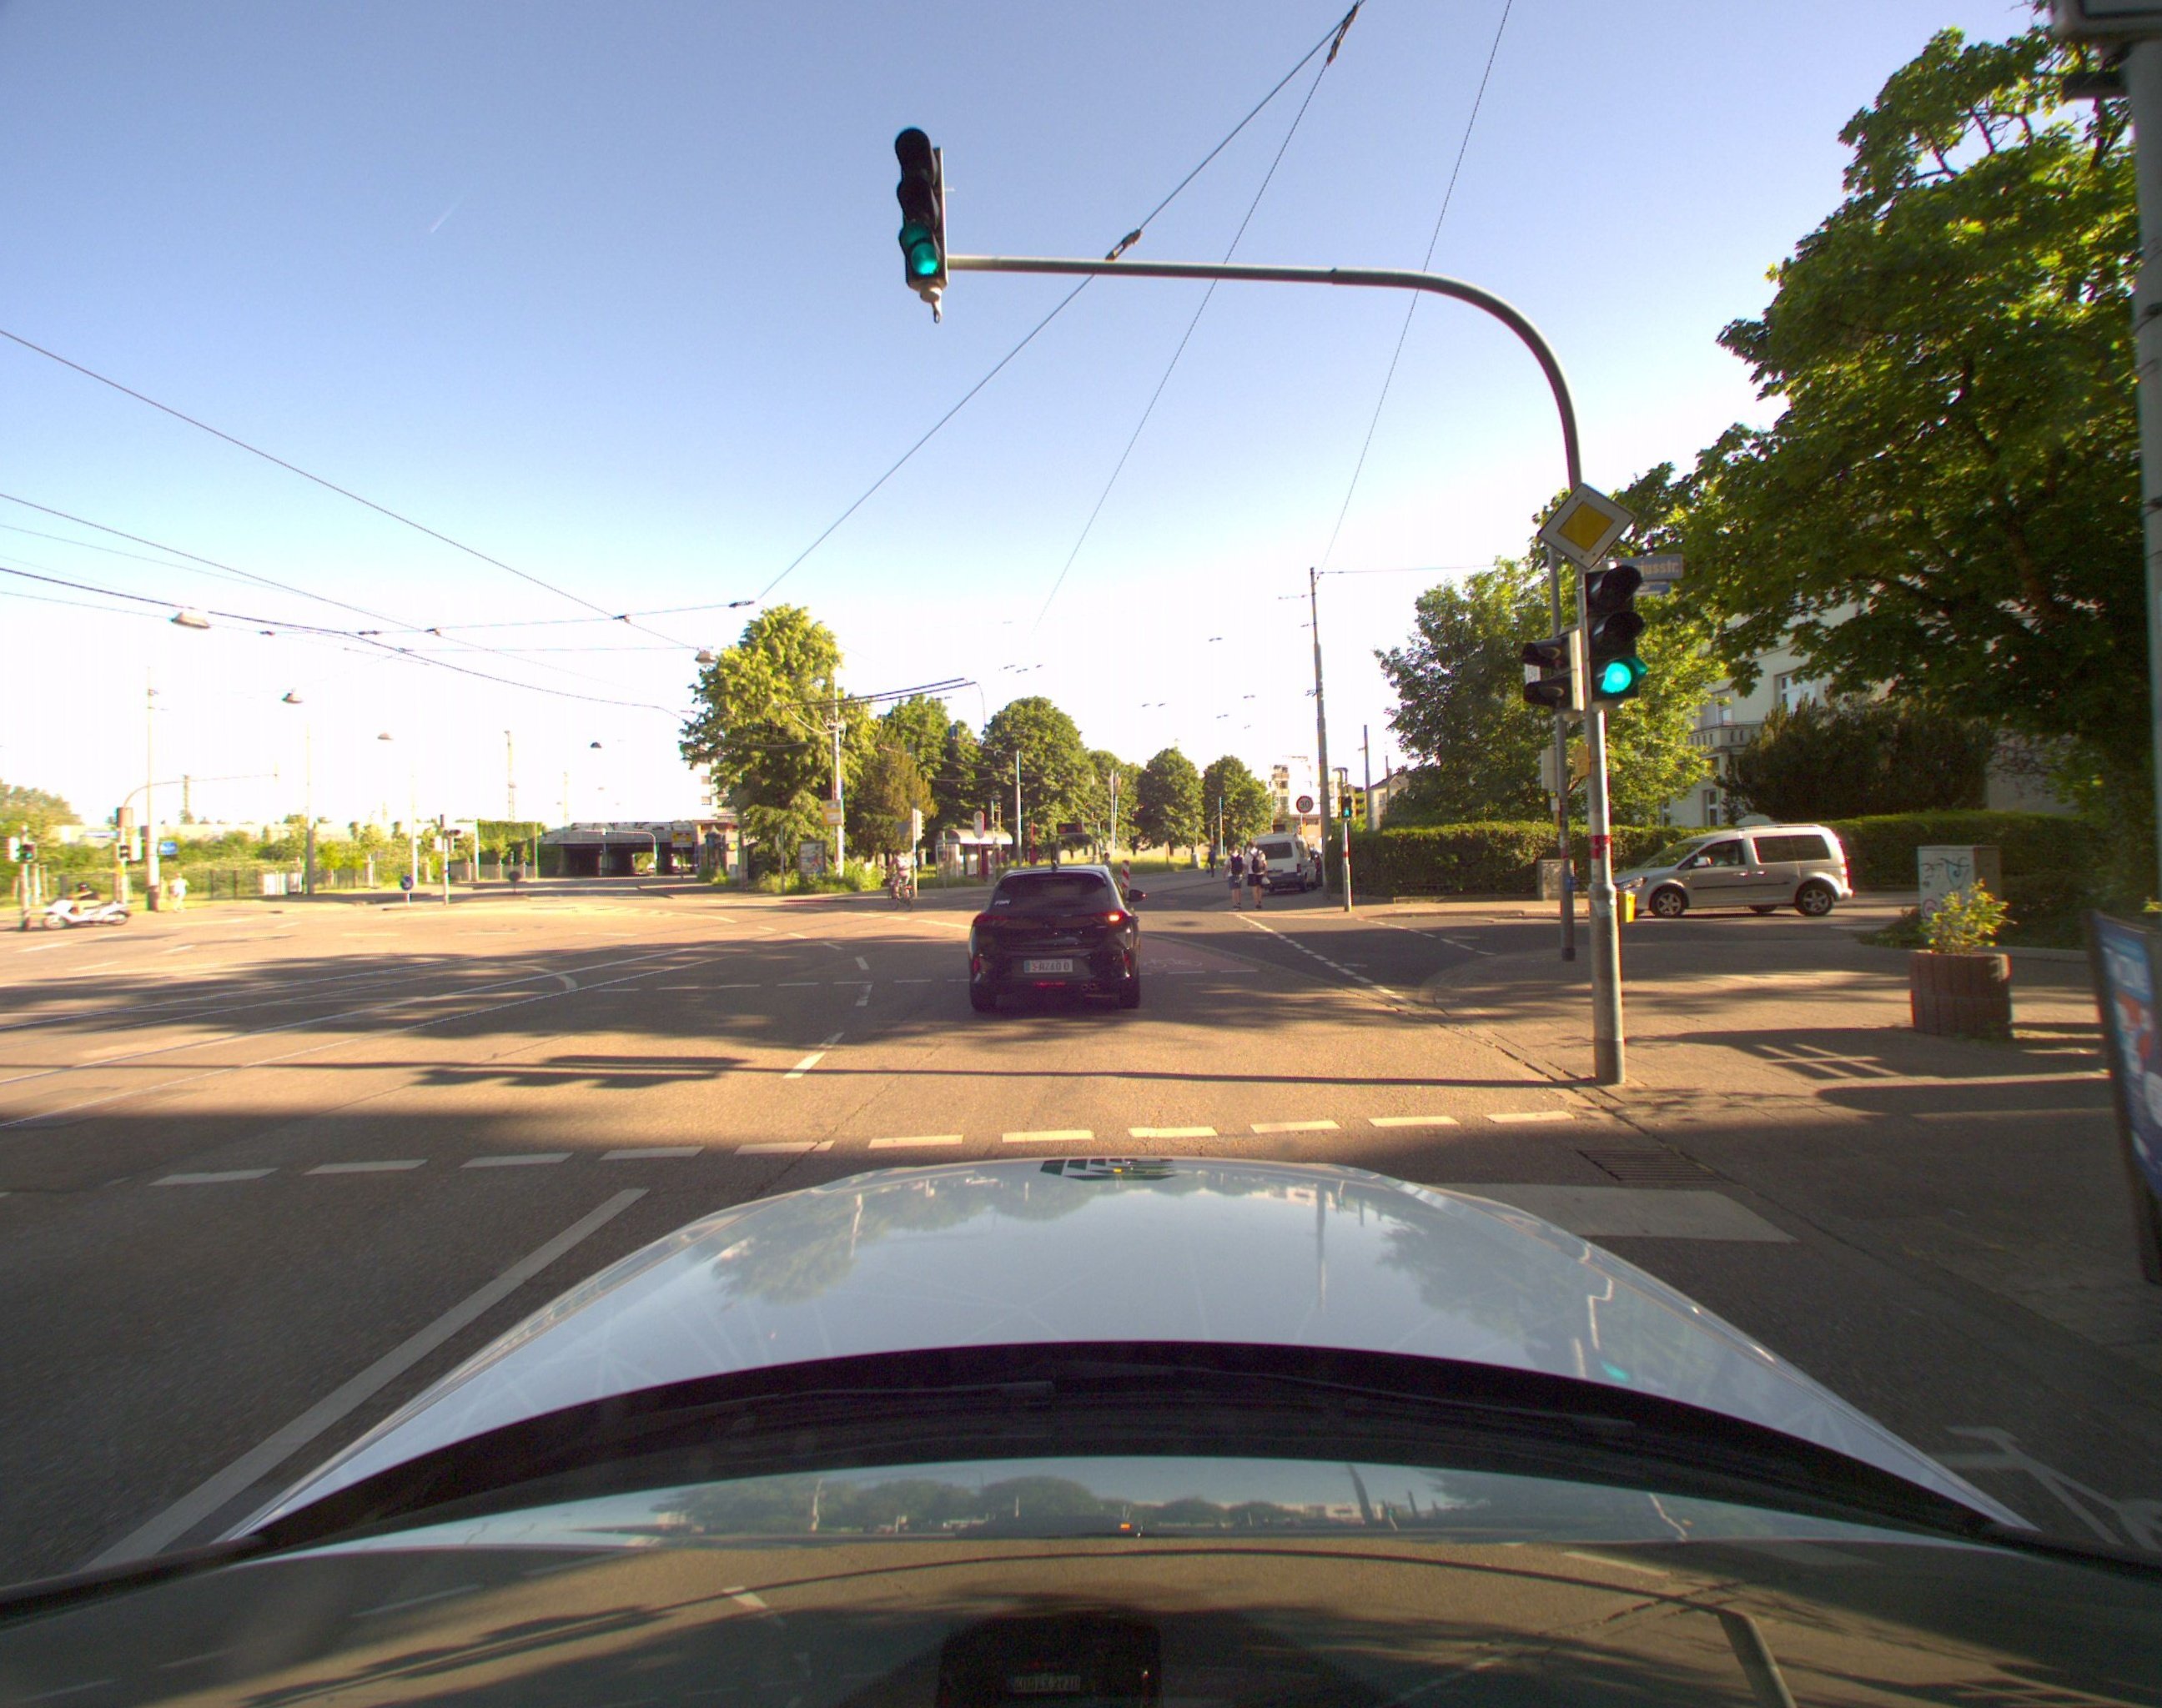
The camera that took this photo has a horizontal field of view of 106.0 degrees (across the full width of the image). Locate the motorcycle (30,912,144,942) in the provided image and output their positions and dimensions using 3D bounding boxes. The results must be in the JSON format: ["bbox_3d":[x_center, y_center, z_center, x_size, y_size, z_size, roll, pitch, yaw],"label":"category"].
[{"bbox_3d":[-33.863,2.467,27.799,0.723,0.870,2.356,-1,-1,22],"label":"motorcycle"}]

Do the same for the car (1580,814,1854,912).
[{"bbox_3d":[13.248,0.237,17.215,4.153,1.814,1.809,-2,-3,7],"label":"car"}]

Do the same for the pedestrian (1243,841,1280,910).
[{"bbox_3d":[4.942,0.572,22.270,0.696,1.846,0.705,-2,-1,38],"label":"pedestrian"}]

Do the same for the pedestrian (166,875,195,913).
[{"bbox_3d":[-38.680,1.703,35.003,0.602,1.596,0.679,0,-2,-27],"label":"pedestrian"}]

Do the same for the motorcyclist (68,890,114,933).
[{"bbox_3d":[-33.889,1.948,27.876,0.706,1.434,0.799,-1,-1,22],"label":"motorcyclist"}]

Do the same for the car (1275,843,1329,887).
[{"bbox_3d":[9.786,0.454,35.833,1.785,1.763,3.912,-2,0,22],"label":"car"}]

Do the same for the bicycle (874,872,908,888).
[{"bbox_3d":[-11.431,1.544,49.008,1.867,0.906,0.661,-2,0,5],"label":"bicycle"}]

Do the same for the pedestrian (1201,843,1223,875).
[{"bbox_3d":[7.427,0.272,46.276,0.949,1.793,1.001,-2,-1,24],"label":"pedestrian"}]

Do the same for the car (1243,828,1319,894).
[{"bbox_3d":[7.609,0.285,30.730,2.071,2.278,4.329,-1,-1,23],"label":"car"}]

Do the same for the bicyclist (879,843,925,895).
[{"bbox_3d":[-5.420,0.450,24.571,0.847,1.510,1.353,-1,0,-37],"label":"bicyclist"}]

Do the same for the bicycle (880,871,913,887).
[{"bbox_3d":[-11.299,1.528,49.883,1.867,0.906,0.661,-2,0,5],"label":"bicycle"}]

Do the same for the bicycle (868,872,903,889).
[{"bbox_3d":[-11.507,1.564,48.021,1.867,0.906,0.661,-2,0,5],"label":"bicycle"}]

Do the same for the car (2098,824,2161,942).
[{"bbox_3d":[15.338,0.361,9.593,1.698,1.581,4.036,-2,0,1],"label":"car"}]

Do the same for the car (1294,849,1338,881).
[{"bbox_3d":[11.861,0.510,40.923,1.785,1.476,3.960,-2,0,21],"label":"car"}]

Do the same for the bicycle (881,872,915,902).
[{"bbox_3d":[-6.936,1.228,30.948,0.822,1.059,1.883,-2,0,1],"label":"bicycle"}]

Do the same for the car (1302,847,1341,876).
[{"bbox_3d":[13.598,0.396,45.899,1.785,1.476,3.960,-2,0,21],"label":"car"}]

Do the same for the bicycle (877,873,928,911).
[{"bbox_3d":[-5.398,1.128,24.563,0.672,1.059,2.058,-1,0,-37],"label":"bicycle"}]

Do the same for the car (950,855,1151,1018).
[{"bbox_3d":[-0.199,0.758,9.396,1.793,1.441,3.942,-2,0,2],"label":"car"}]

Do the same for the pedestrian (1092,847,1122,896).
[{"bbox_3d":[0.926,0.620,29.065,0.718,1.693,0.705,-2,-1,39],"label":"pedestrian"}]

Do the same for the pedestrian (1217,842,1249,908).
[{"bbox_3d":[4.211,0.580,22.616,0.696,1.792,0.617,-2,-1,-2],"label":"pedestrian"}]
